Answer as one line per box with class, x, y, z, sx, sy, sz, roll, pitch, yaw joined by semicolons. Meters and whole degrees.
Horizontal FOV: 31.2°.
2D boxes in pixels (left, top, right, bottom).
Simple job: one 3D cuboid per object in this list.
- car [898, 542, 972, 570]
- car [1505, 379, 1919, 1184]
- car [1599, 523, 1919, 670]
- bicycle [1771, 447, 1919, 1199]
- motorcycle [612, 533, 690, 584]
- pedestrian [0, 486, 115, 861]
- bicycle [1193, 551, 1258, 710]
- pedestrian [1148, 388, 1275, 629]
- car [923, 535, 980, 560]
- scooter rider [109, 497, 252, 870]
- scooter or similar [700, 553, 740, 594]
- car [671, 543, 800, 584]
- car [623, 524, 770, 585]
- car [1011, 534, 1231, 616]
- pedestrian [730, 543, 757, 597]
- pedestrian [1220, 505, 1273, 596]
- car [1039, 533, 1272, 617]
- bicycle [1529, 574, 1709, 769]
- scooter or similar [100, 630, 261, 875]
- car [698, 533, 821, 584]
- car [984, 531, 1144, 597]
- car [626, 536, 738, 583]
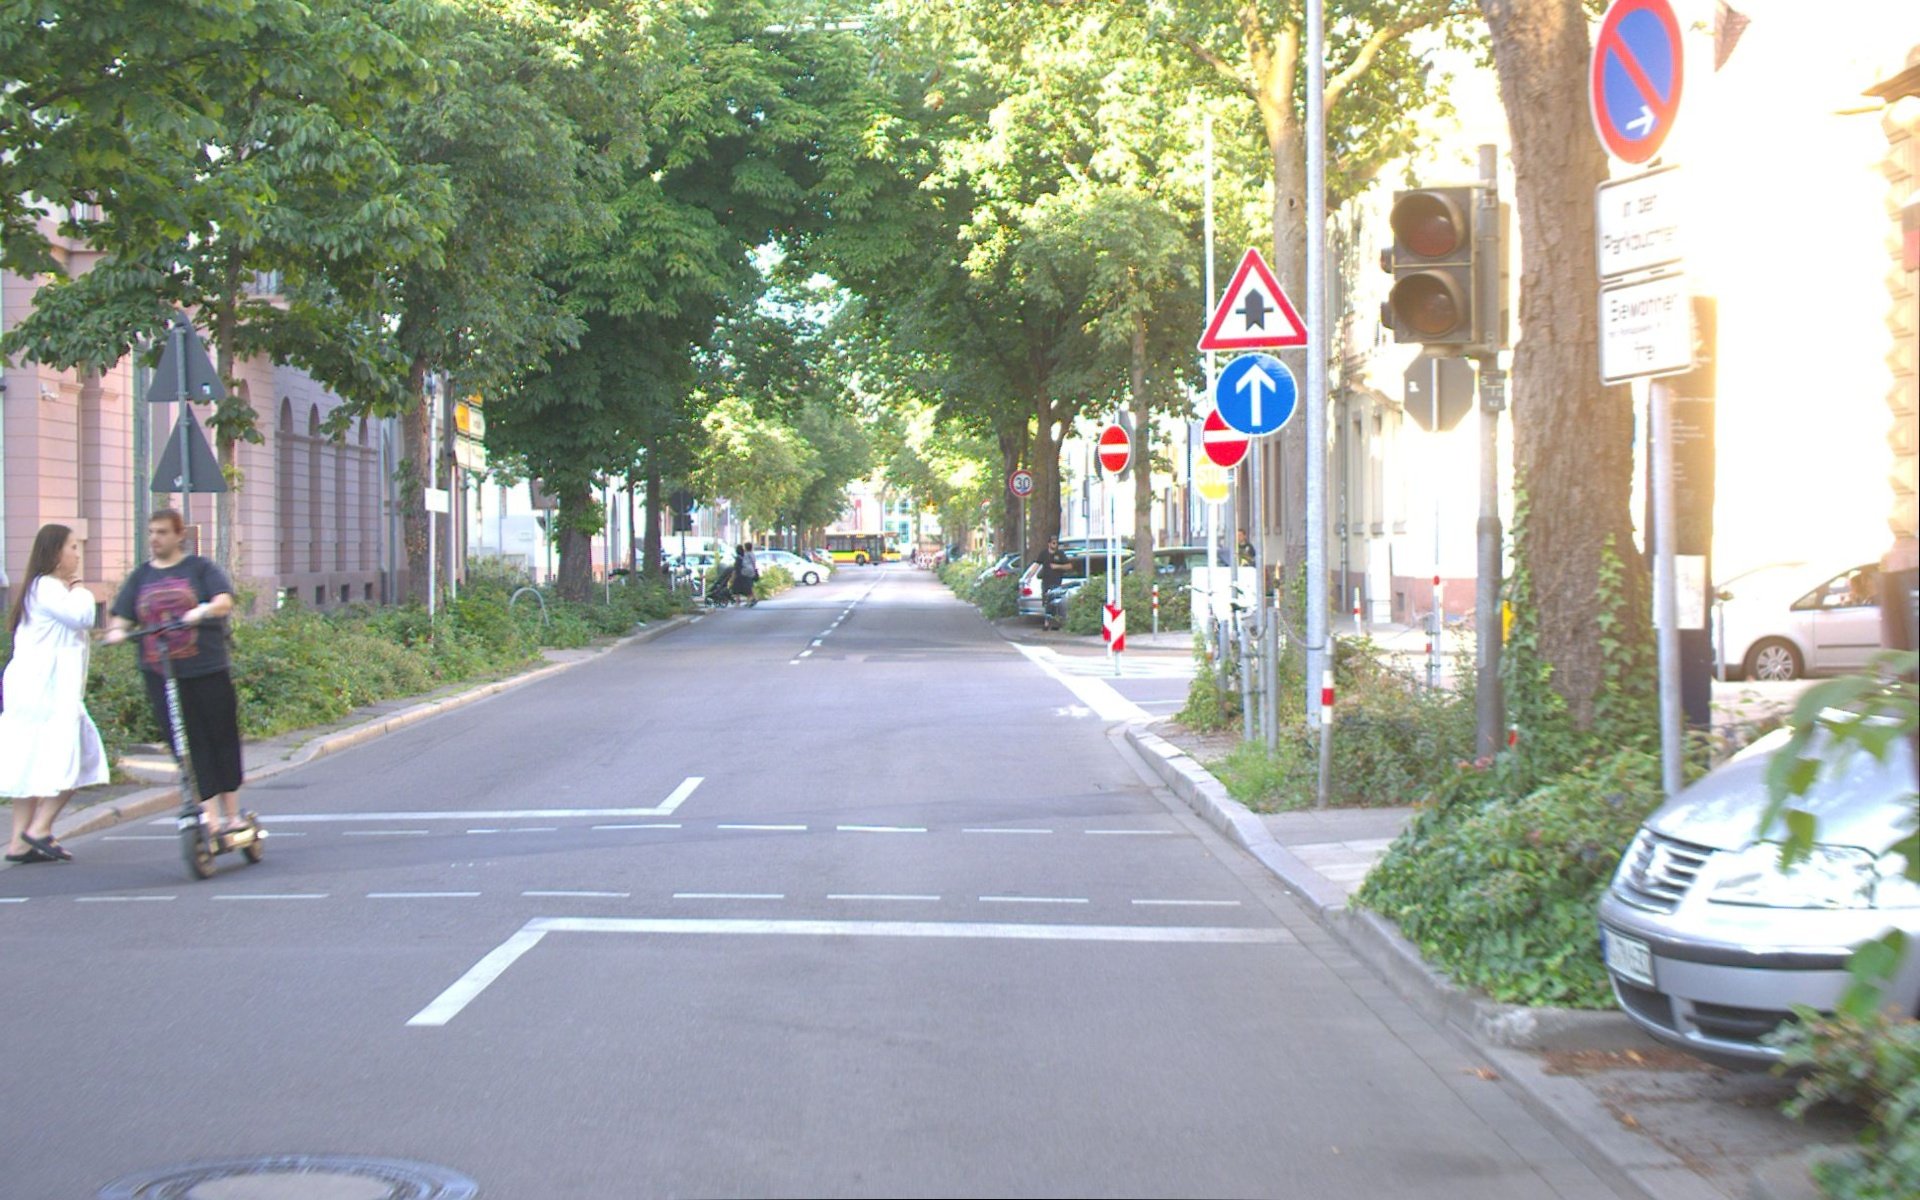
car;-1.366;-2.396;186.965;3.986;1.437;1.697;-1;1;-2
car;3.936;0.374;9.263;4.539;1.908;1.950;-1;1;-3
car;9.715;-0.055;39.795;4.338;1.648;1.886;0;1;2
bicycle;3.147;0.570;6.412;3.112;1.657;0.658;0;1;-5
motorcycle;-7.773;-1.050;86.494;1.919;1.254;0.591;0;1;-1
pedestrian;-4.756;0.361;17.664;0.768;1.882;0.793;-1;1;-12
bicycle;2.355;0.257;30.409;0.417;1.367;1.288;-1;1;11
pedestrian;2.280;-0.820;31.261;1.043;2.139;1.063;1;0;0
car;-0.650;-3.888;254.121;3.988;1.831;2.000;0;1;7
scooter rider;-3.824;0.399;16.903;0.494;1.785;0.874;0;0;0
scooter or similar;-6.313;-0.699;90.437;0.896;1.085;0.845;1;1;6
car;-9.242;-1.522;141.743;5.064;1.611;2.263;-1;1;3
car;-9.302;-1.616;121.676;5.064;2.076;2.263;-1;1;-1
car;3.150;-0.509;67.842;4.192;1.475;1.852;-2;1;0
pedestrian;-5.639;-0.784;89.681;0.655;1.390;0.607;1;0;-1
pedestrian;5.418;-0.947;65.085;0.943;1.700;0.782;0;2;1
car;3.558;-0.470;63.061;4.107;1.485;1.850;0;2;-2
bicycle;4.149;0.421;21.798;0.523;1.148;2.249;0;1;-5
scooter or similar;-3.824;0.731;16.931;0.502;1.141;1.250;0;0;0
car;-8.574;-1.774;147.140;5.064;2.076;2.263;-1;1;1
car;2.675;-0.938;88.857;4.014;1.617;1.781;-1;1;-2
car;-9.391;-1.378;116.284;3.725;1.503;1.873;-1;1;-4
